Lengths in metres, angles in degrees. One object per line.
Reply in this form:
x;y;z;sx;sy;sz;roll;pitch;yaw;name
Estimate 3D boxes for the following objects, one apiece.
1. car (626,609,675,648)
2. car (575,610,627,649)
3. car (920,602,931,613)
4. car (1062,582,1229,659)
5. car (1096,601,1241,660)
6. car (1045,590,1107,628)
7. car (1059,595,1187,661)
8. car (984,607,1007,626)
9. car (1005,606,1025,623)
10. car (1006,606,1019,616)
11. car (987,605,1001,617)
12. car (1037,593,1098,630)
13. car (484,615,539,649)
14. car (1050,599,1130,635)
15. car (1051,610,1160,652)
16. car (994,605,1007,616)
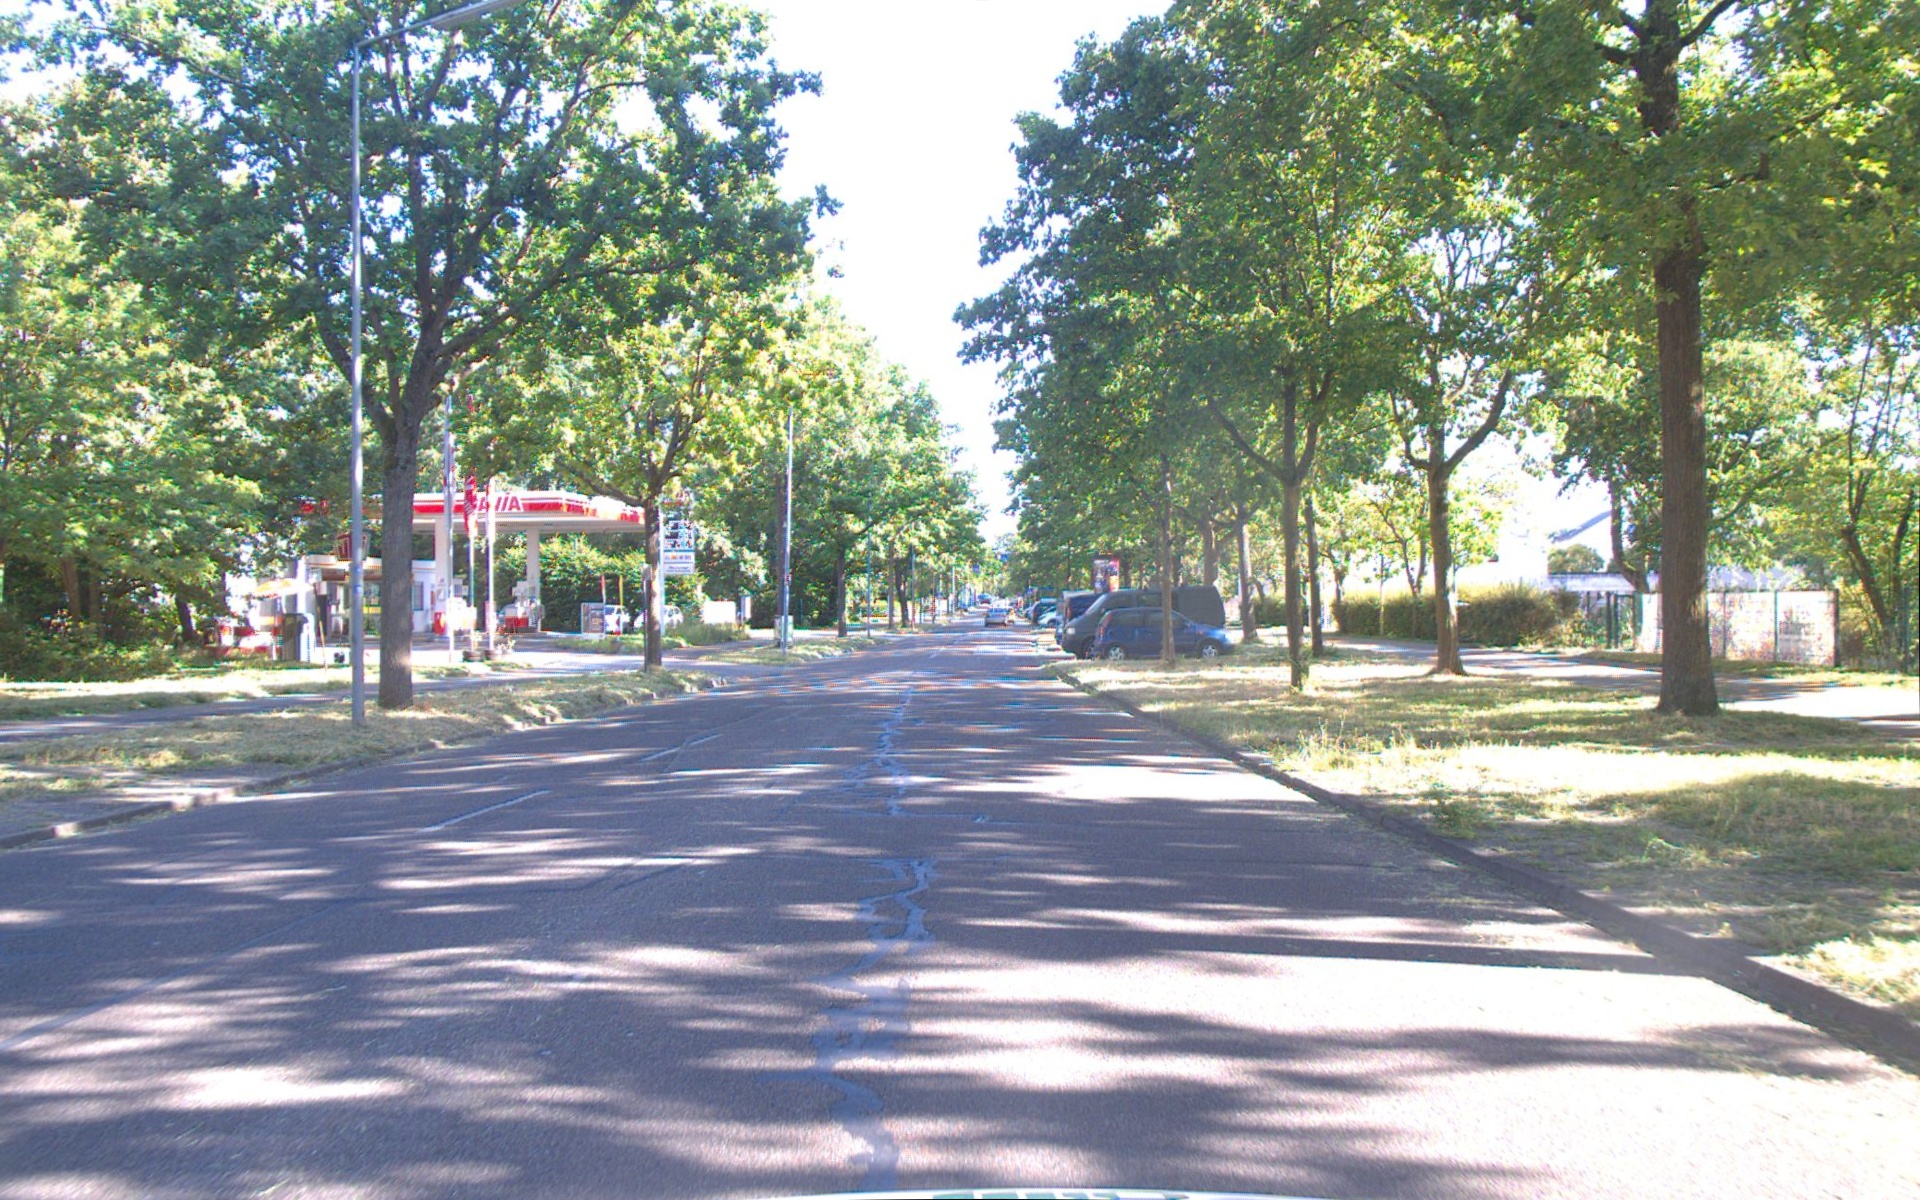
-15.312;1.418;82.014;1.764;1.855;3.804;-1;-2;-1;car
-17.764;1.470;82.044;1.764;1.855;3.804;-1;-2;-1;car
-5.320;1.161;254.069;1.612;1.451;3.999;-1;-2;-1;car
5.091;0.581;45.840;4.410;1.987;1.687;-1;-2;0;car
5.376;0.790;42.851;3.578;1.423;1.317;-1;-2;0;car
6.696;0.527;95.632;3.494;2.087;1.633;-1;-2;0;car
4.729;0.829;48.329;3.578;1.829;1.317;-1;-2;0;car
2.596;1.226;122.569;1.627;1.360;3.664;-1;-2;0;car
4.701;1.238;142.120;1.627;1.360;3.664;-1;-2;0;car
7.595;1.583;239.042;1.700;1.360;3.664;-1;-2;0;car
4.129;1.344;202.601;1.627;1.360;3.664;-1;-2;0;car
6.397;0.668;98.369;3.494;2.087;1.575;-1;-2;0;car
-22.710;1.624;83.900;1.764;1.649;3.804;-1;-2;0;car
5.985;0.789;76.415;3.578;1.590;1.317;-1;-2;0;car
4.944;1.058;56.343;3.578;1.353;1.317;-1;-2;0;car
5.504;1.445;224.859;1.627;1.360;3.664;-1;-2;0;car
